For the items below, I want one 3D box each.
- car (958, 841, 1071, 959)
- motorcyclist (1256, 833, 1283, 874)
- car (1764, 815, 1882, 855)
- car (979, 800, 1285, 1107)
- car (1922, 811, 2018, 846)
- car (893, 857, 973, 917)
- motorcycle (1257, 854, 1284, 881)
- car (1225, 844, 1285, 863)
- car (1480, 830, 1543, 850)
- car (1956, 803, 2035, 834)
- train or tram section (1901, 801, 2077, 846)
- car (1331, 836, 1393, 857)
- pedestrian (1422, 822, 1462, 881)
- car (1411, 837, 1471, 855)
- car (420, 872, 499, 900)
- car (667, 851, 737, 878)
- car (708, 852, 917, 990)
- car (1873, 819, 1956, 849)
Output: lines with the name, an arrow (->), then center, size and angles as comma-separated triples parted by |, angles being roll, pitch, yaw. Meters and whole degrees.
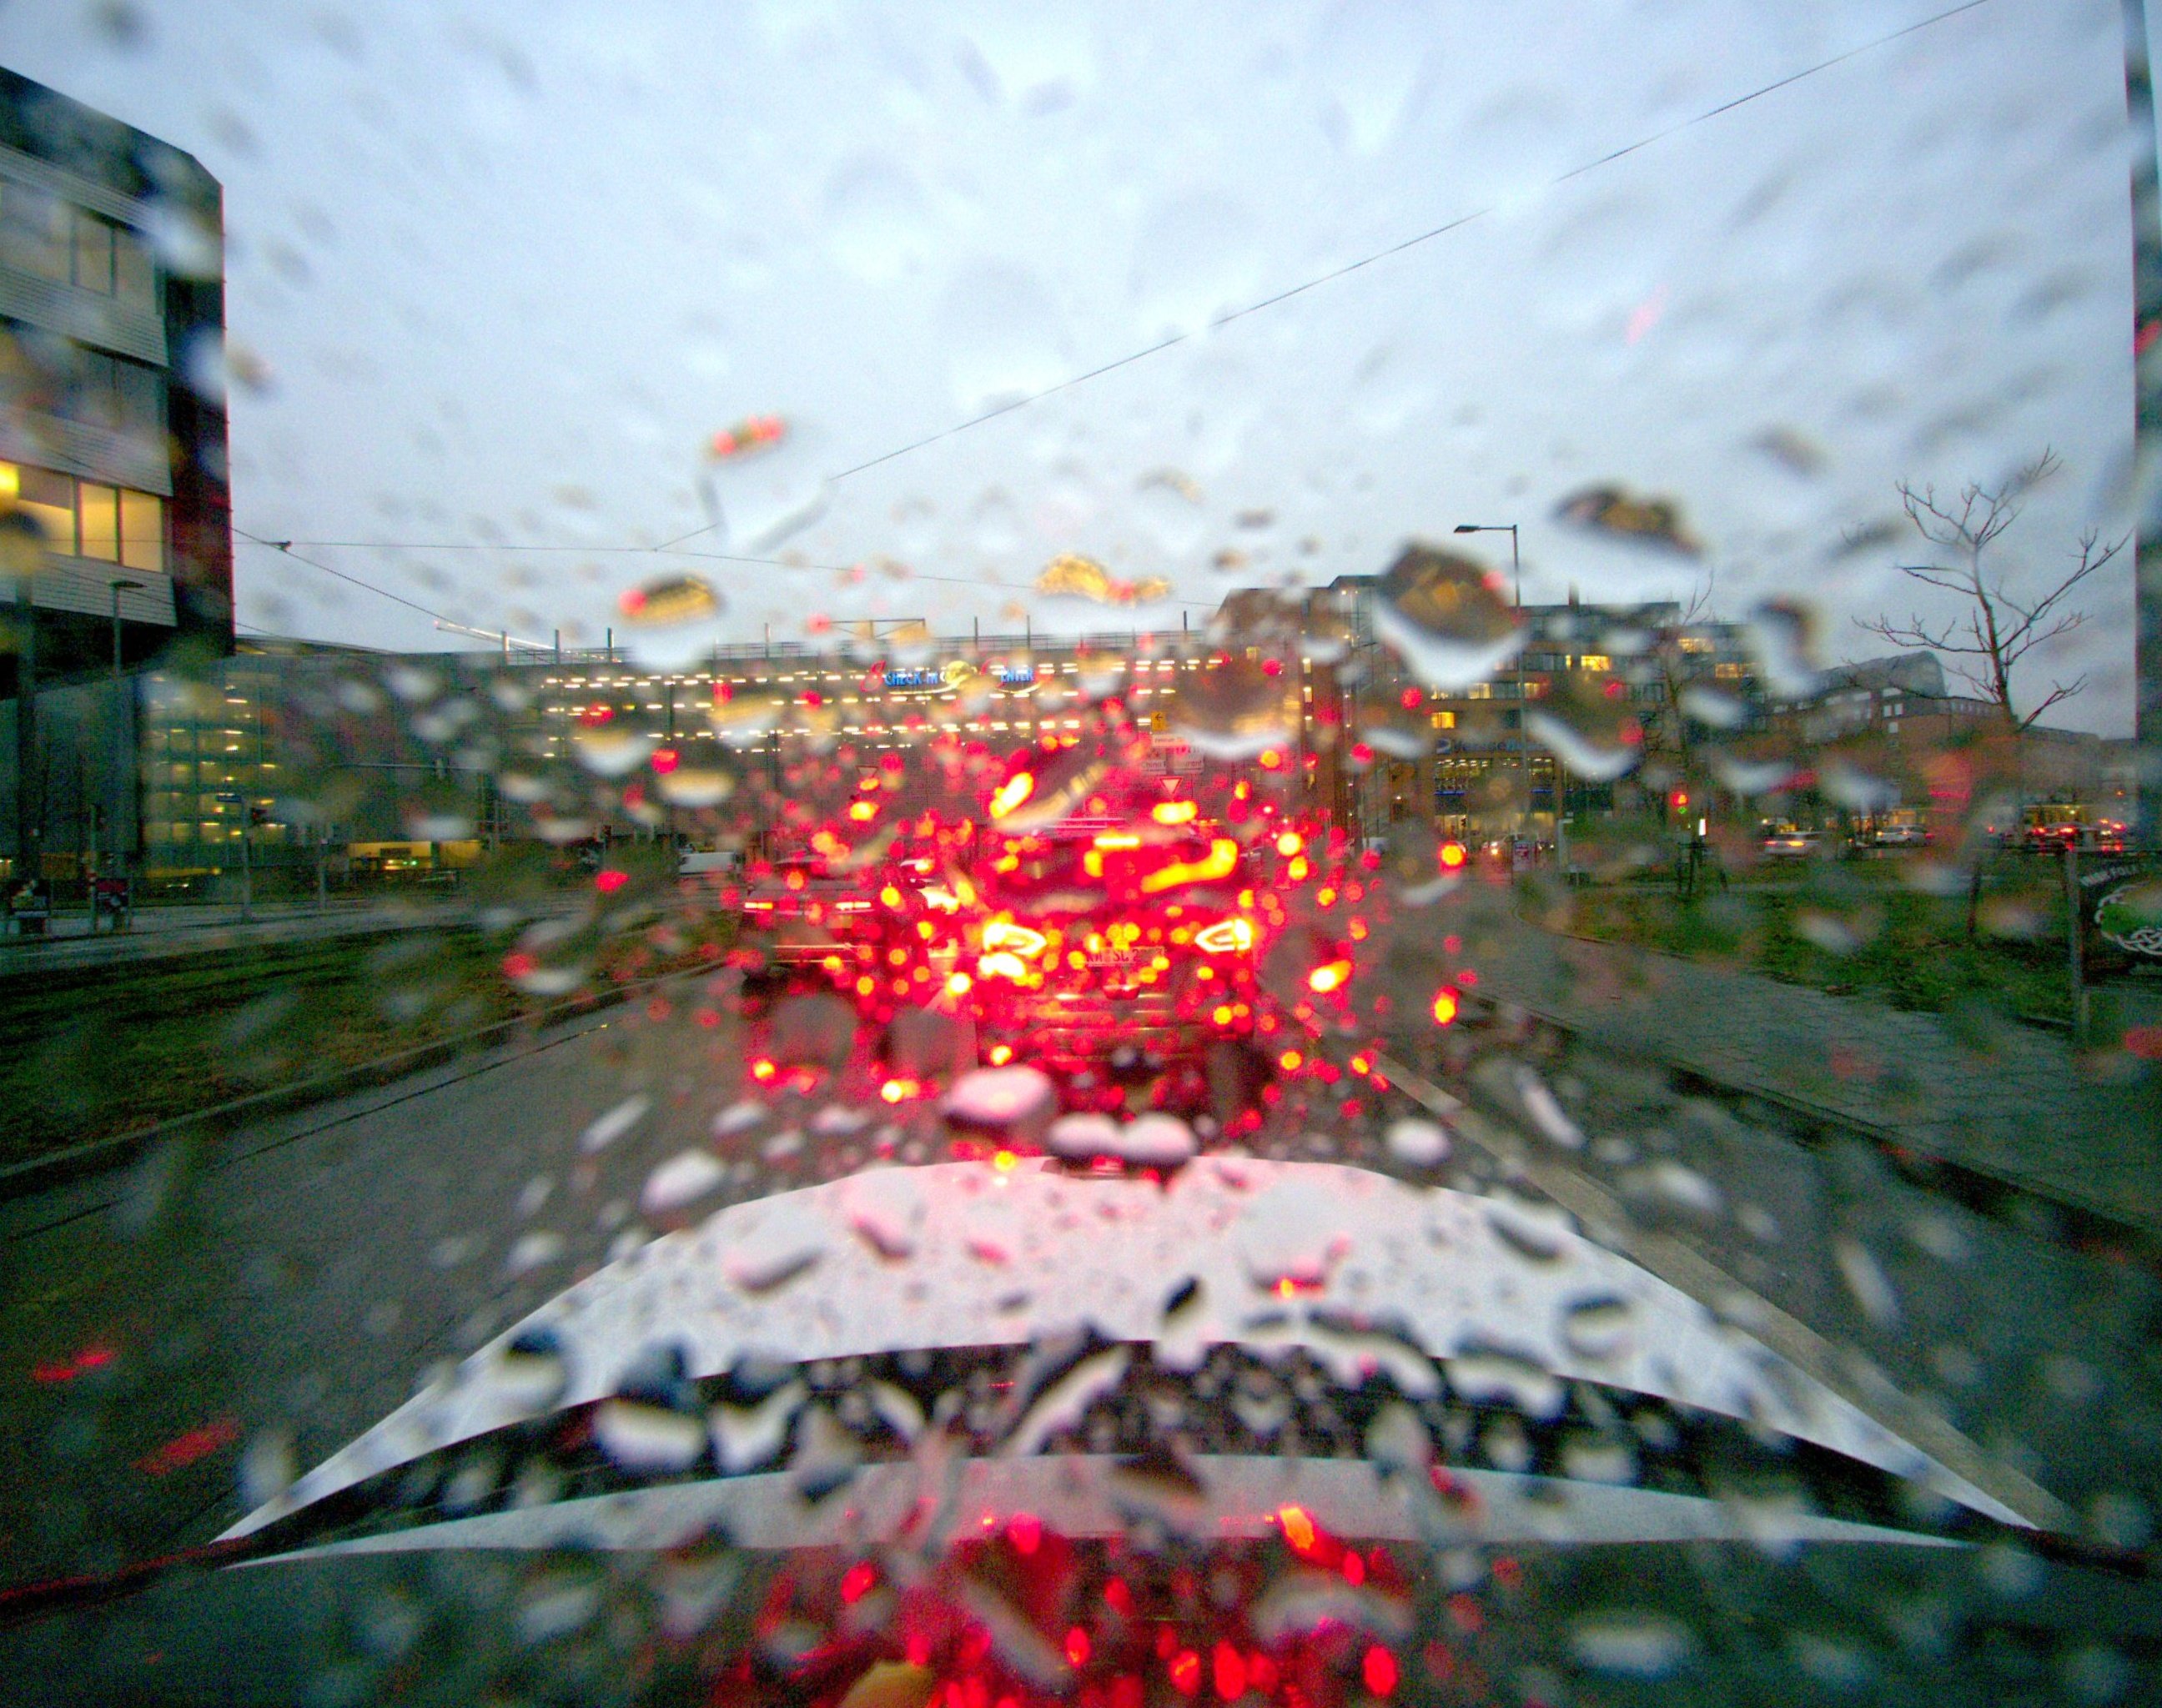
car -> -1.045, 0.674, 13.703 | 1.632, 1.697, 3.667 | -1, 0, -3
motorcyclist -> 7.325, -0.007, 31.635 | 0.863, 1.534, 1.110 | -2, 0, 7
car -> 37.920, -0.962, 41.683 | 4.664, 1.851, 1.827 | -2, -1, -7
car -> 0.285, 0.560, 6.760 | 1.730, 1.738, 4.246 | 1, 0, 0
car -> 52.332, -1.505, 47.978 | 3.987, 1.874, 1.994 | -3, 1, -10
car -> -3.468, 0.716, 19.691 | 1.538, 1.251, 4.059 | -1, 0, -6
motorcycle -> 7.335, 0.512, 31.619 | 0.848, 0.972, 1.585 | -2, 0, 7
car -> 14.127, -0.056, 66.255 | 4.413, 1.390, 1.796 | -2, 0, -6
car -> 36.345, -1.150, 68.765 | 4.425, 1.534, 1.796 | -2, 0, -6
car -> 64.371, -2.462, 57.329 | 4.948, 2.013, 1.987 | 0, 0, -20
train or tram section -> 76.501, -2.589, 68.540 | 16.626, 3.260, 2.326 | -2, 0, -14
car -> 22.902, -0.596, 66.526 | 4.413, 1.595, 1.796 | -2, 0, -6
pedestrian -> 11.960, -0.088, 26.977 | 1.159, 1.924, 0.904 | 1, 0, 25
car -> 29.952, -0.660, 67.832 | 4.209, 1.390, 1.796 | -2, 0, -6
car -> -50.828, 2.615, 66.668 | 4.831, 2.000, 1.797 | -2, 0, -5
car -> -31.299, 0.874, 67.336 | 4.831, 2.000, 1.797 | -2, 0, -5
car -> -3.592, 0.797, 11.696 | 1.748, 1.574, 3.997 | -2, 0, -2
car -> 56.750, -1.350, 55.486 | 3.985, 2.013, 1.994 | 0, 0, -9
